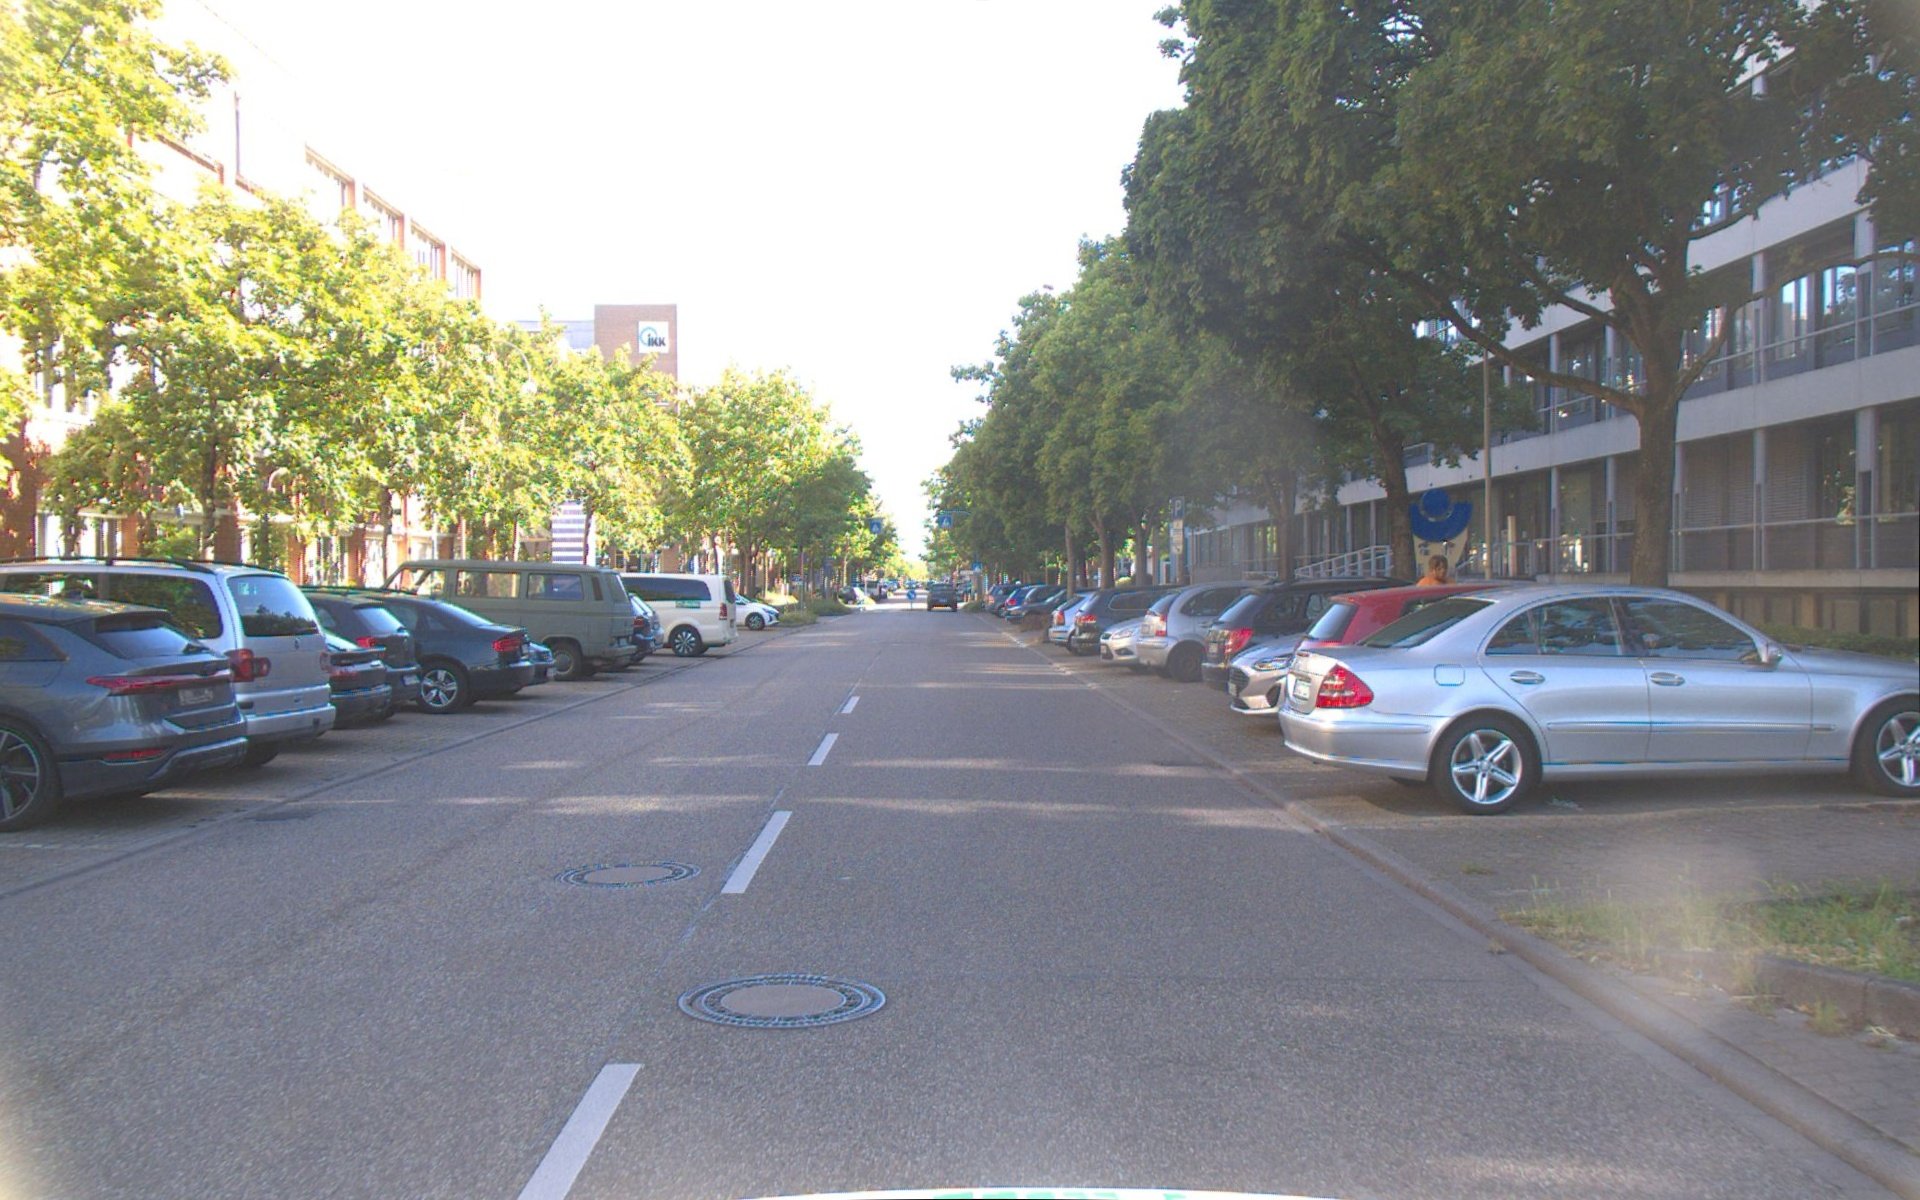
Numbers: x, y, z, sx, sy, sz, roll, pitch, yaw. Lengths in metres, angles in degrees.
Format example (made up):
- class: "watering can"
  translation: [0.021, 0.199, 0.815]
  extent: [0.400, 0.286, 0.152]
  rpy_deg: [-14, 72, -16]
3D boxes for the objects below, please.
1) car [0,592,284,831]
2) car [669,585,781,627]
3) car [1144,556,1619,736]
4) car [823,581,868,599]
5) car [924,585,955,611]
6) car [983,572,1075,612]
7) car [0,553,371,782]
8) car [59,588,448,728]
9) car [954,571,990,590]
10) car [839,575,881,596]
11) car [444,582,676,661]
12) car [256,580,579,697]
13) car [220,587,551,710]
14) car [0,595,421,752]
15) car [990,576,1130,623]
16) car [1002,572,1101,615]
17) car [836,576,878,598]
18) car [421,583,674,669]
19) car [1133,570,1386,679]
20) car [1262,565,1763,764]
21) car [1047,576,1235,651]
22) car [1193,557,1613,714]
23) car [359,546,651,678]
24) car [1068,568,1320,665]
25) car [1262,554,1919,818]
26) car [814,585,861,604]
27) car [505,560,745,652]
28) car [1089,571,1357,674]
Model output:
- class: "car"
  translation: [-7.084, 0.679, 11.134]
  extent: [4.315, 1.452, 1.772]
  rpy_deg: [1, 1, -3]
- class: "car"
  translation: [-8.621, 0.210, 60.854]
  extent: [3.907, 1.512, 1.806]
  rpy_deg: [0, 0, -2]
- class: "car"
  translation: [4.219, 0.446, 17.136]
  extent: [4.421, 1.569, 1.923]
  rpy_deg: [-3, 1, 3]
- class: "car"
  translation: [-9.772, -0.836, 141.379]
  extent: [3.775, 1.499, 1.810]
  rpy_deg: [1, 0, -7]
- class: "car"
  translation: [-1.352, -0.148, 108.562]
  extent: [1.953, 1.668, 3.999]
  rpy_deg: [1, 0, -1]
- class: "car"
  translation: [3.382, -0.409, 81.431]
  extent: [4.265, 1.733, 1.811]
  rpy_deg: [-3, 0, -4]
- class: "car"
  translation: [-7.323, 0.504, 13.659]
  extent: [4.236, 1.747, 1.961]
  rpy_deg: [1, 1, -5]
- class: "car"
  translation: [-7.892, 0.623, 18.729]
  extent: [3.651, 1.452, 1.724]
  rpy_deg: [1, 1, -2]
- class: "car"
  translation: [1.304, -2.208, 185.240]
  extent: [3.907, 2.049, 1.999]
  rpy_deg: [-1, 0, -3]
- class: "car"
  translation: [-10.020, -1.446, 165.997]
  extent: [3.904, 2.049, 2.001]
  rpy_deg: [-1, 1, 3]
- class: "car"
  translation: [-8.119, 0.415, 33.864]
  extent: [4.231, 1.503, 1.943]
  rpy_deg: [1, 1, 1]
- class: "car"
  translation: [-7.704, 0.526, 23.749]
  extent: [4.048, 1.554, 1.725]
  rpy_deg: [1, 1, -1]
- class: "car"
  translation: [-7.182, 0.598, 20.996]
  extent: [3.655, 1.452, 1.722]
  rpy_deg: [1, 1, -7]
- class: "car"
  translation: [-7.662, 0.677, 16.104]
  extent: [4.234, 1.382, 1.756]
  rpy_deg: [1, 1, -2]
- class: "car"
  translation: [3.499, -0.026, 58.731]
  extent: [4.729, 1.444, 2.031]
  rpy_deg: [-3, 1, -3]
- class: "car"
  translation: [3.683, -0.259, 67.189]
  extent: [3.868, 1.541, 1.813]
  rpy_deg: [-3, 1, 0]
- class: "car"
  translation: [-10.130, -1.284, 162.640]
  extent: [3.904, 2.049, 2.001]
  rpy_deg: [-1, 1, 3]
- class: "car"
  translation: [-7.695, 0.456, 31.149]
  extent: [4.231, 1.503, 1.943]
  rpy_deg: [1, 1, 1]
- class: "car"
  translation: [4.751, 0.366, 26.504]
  extent: [3.670, 1.519, 1.615]
  rpy_deg: [-3, 1, -5]
- class: "car"
  translation: [4.696, 0.518, 14.530]
  extent: [3.758, 1.472, 1.923]
  rpy_deg: [-3, 1, 3]
- class: "car"
  translation: [3.992, 0.278, 36.801]
  extent: [3.891, 1.444, 1.709]
  rpy_deg: [-3, 1, -3]
- class: "car"
  translation: [5.108, 0.386, 19.544]
  extent: [4.421, 1.569, 1.922]
  rpy_deg: [-3, 1, 2]
- class: "car"
  translation: [-7.736, 0.191, 28.462]
  extent: [4.395, 2.126, 2.083]
  rpy_deg: [1, 1, 1]
- class: "car"
  translation: [4.409, 0.296, 31.598]
  extent: [4.498, 1.519, 1.763]
  rpy_deg: [-3, 1, -1]
- class: "car"
  translation: [4.535, 0.533, 11.557]
  extent: [4.485, 1.501, 1.747]
  rpy_deg: [-3, 1, -1]
- class: "car"
  translation: [-10.026, -0.441, 135.626]
  extent: [3.773, 1.499, 1.811]
  rpy_deg: [1, 0, -5]
- class: "car"
  translation: [-7.712, 0.124, 38.437]
  extent: [5.151, 2.001, 1.942]
  rpy_deg: [1, 1, -1]
- class: "car"
  translation: [4.506, 0.364, 28.735]
  extent: [4.203, 1.519, 2.002]
  rpy_deg: [-3, 1, -6]
